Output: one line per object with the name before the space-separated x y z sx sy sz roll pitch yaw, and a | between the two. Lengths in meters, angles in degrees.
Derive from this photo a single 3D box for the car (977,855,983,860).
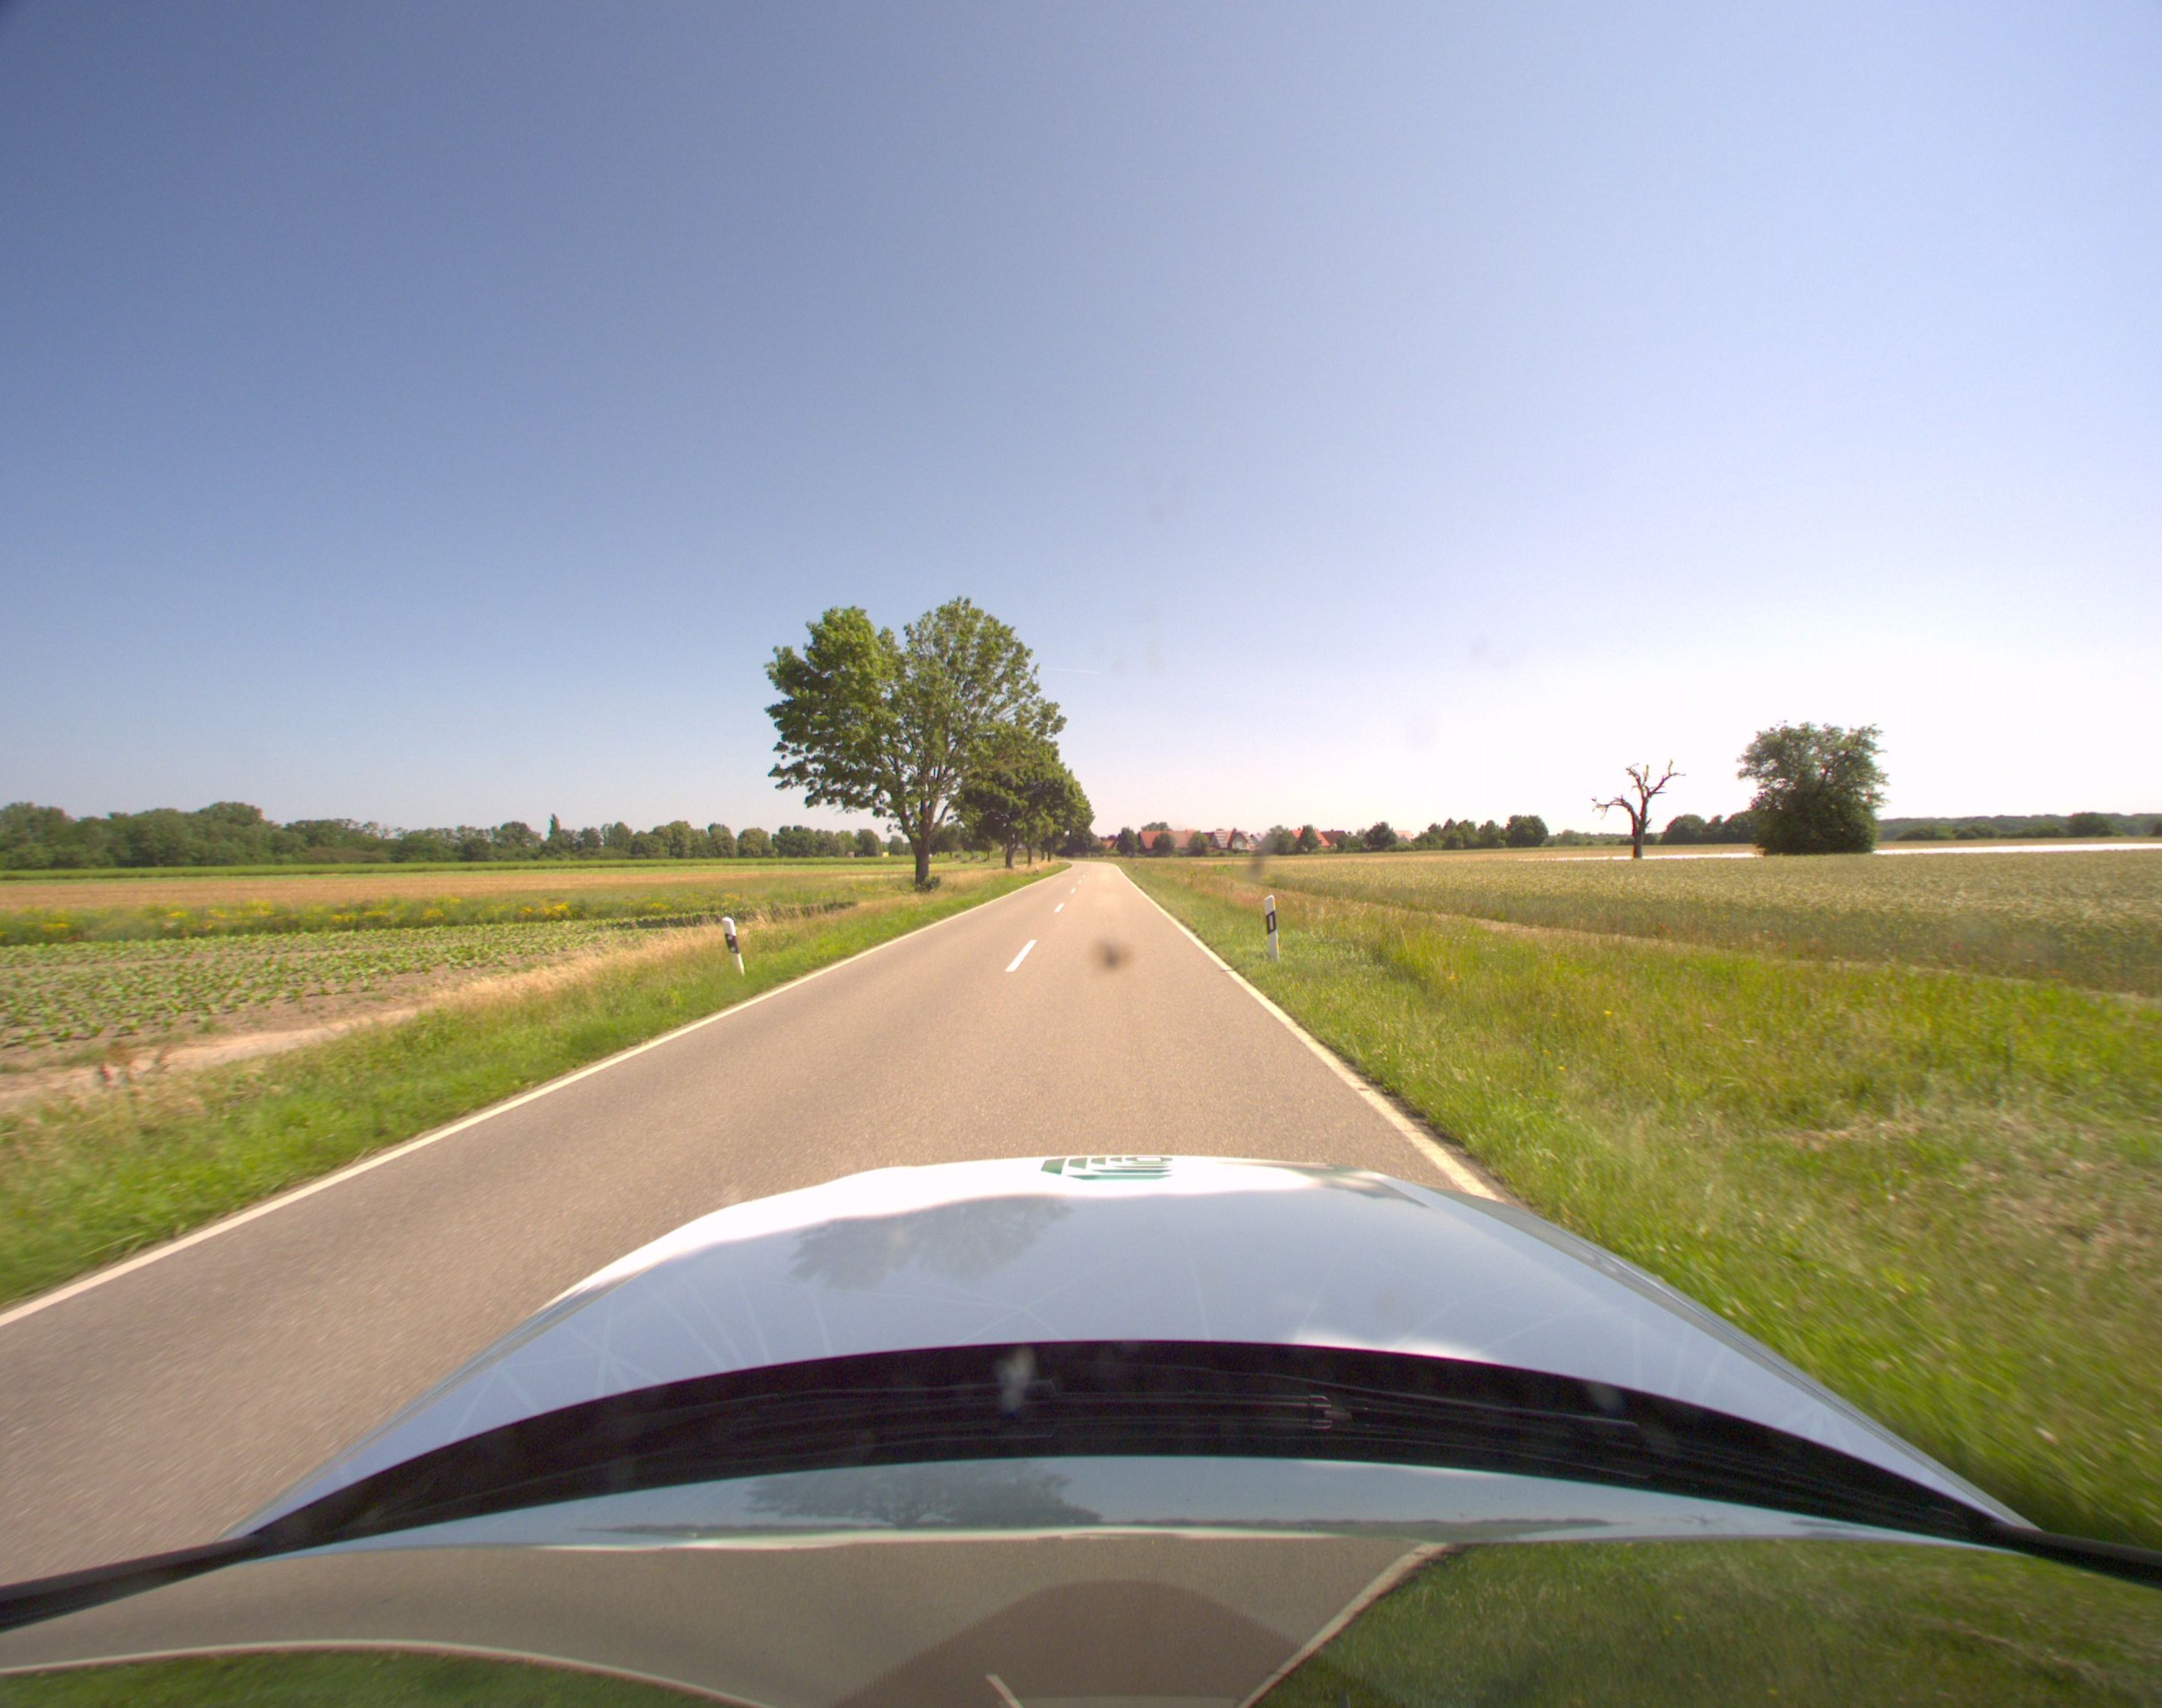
car | -31.045 1.142 250.170 1.595 1.669 3.404 1 -1 -9

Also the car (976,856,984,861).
car | -31.442 1.368 253.022 1.648 1.429 4.154 -4 0 -18
